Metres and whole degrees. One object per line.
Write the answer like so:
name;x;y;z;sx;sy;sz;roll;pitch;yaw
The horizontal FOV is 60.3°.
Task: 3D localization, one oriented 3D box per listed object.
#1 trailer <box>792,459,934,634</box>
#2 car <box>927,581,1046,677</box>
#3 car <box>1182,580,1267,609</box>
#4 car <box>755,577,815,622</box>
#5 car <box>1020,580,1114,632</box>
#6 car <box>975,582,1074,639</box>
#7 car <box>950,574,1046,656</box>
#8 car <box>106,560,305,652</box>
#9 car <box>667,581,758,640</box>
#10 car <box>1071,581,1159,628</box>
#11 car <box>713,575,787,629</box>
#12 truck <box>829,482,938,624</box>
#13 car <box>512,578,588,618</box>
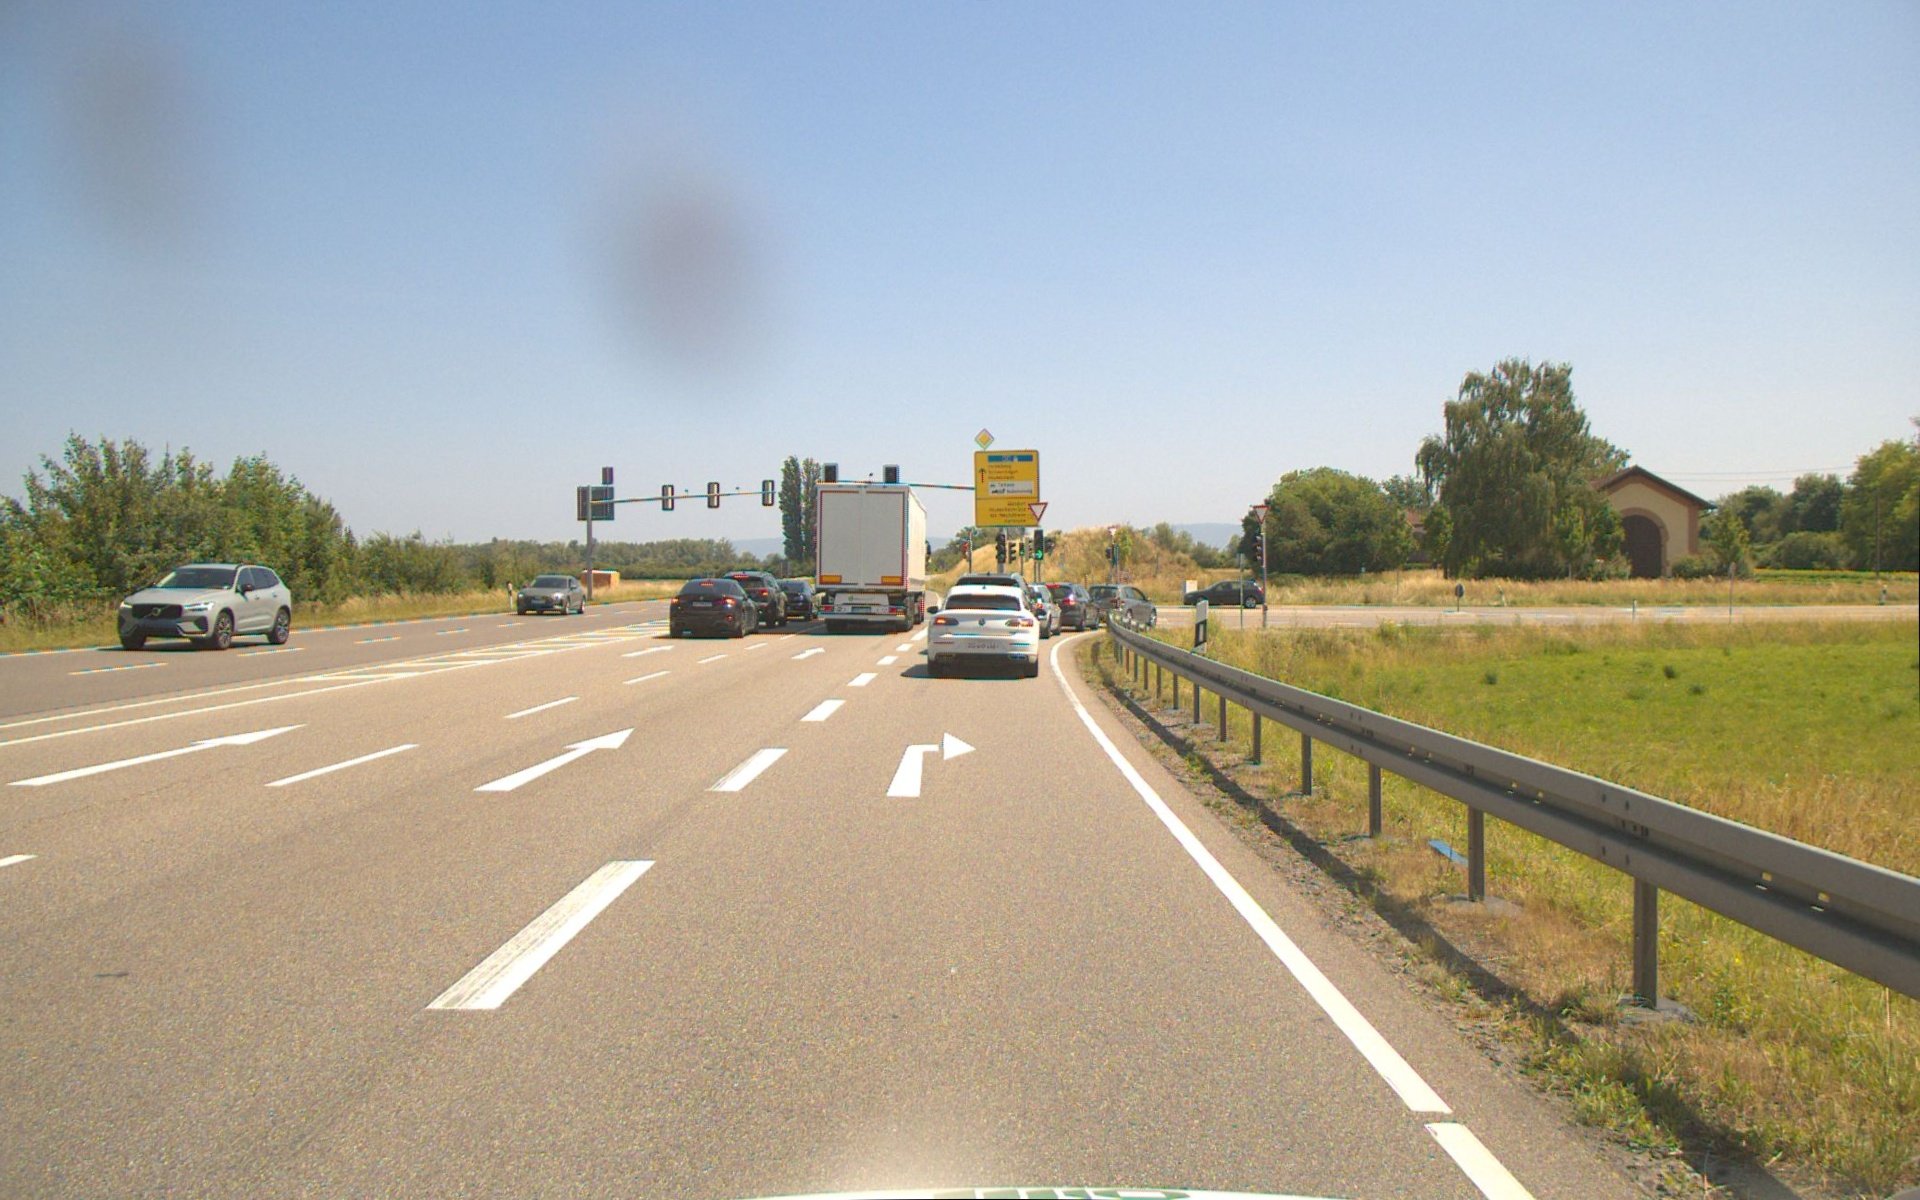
trailer;-2.686;-1.492;50.661;3.311;4.622;12.873;1;1;1
car;0.436;0.436;27.759;1.810;1.458;4.609;1;0;1
car;13.670;-0.304;85.561;4.170;1.392;1.777;-1;2;4
car;-6.195;-0.017;58.864;1.772;1.519;4.020;1;0;-1
car;3.312;0.178;50.542;1.762;1.502;4.416;1;0;19
car;1.798;0.260;44.689;1.761;1.454;4.095;1;0;16
car;0.881;0.290;35.566;1.894;1.644;4.380;1;0;3
car;-14.983;0.096;33.149;1.987;1.668;4.567;1;0;-2
car;-6.329;0.233;42.659;1.772;1.423;4.020;1;0;-1
car;5.422;0.140;57.371;1.765;1.548;3.878;1;0;27
car;-6.302;0.044;50.052;1.772;1.519;4.020;1;0;-1
truck;-2.560;-1.582;57.564;3.311;4.622;6.373;1;0;1
car;-15.404;-0.091;62.361;1.840;1.422;4.530;1;0;-2
